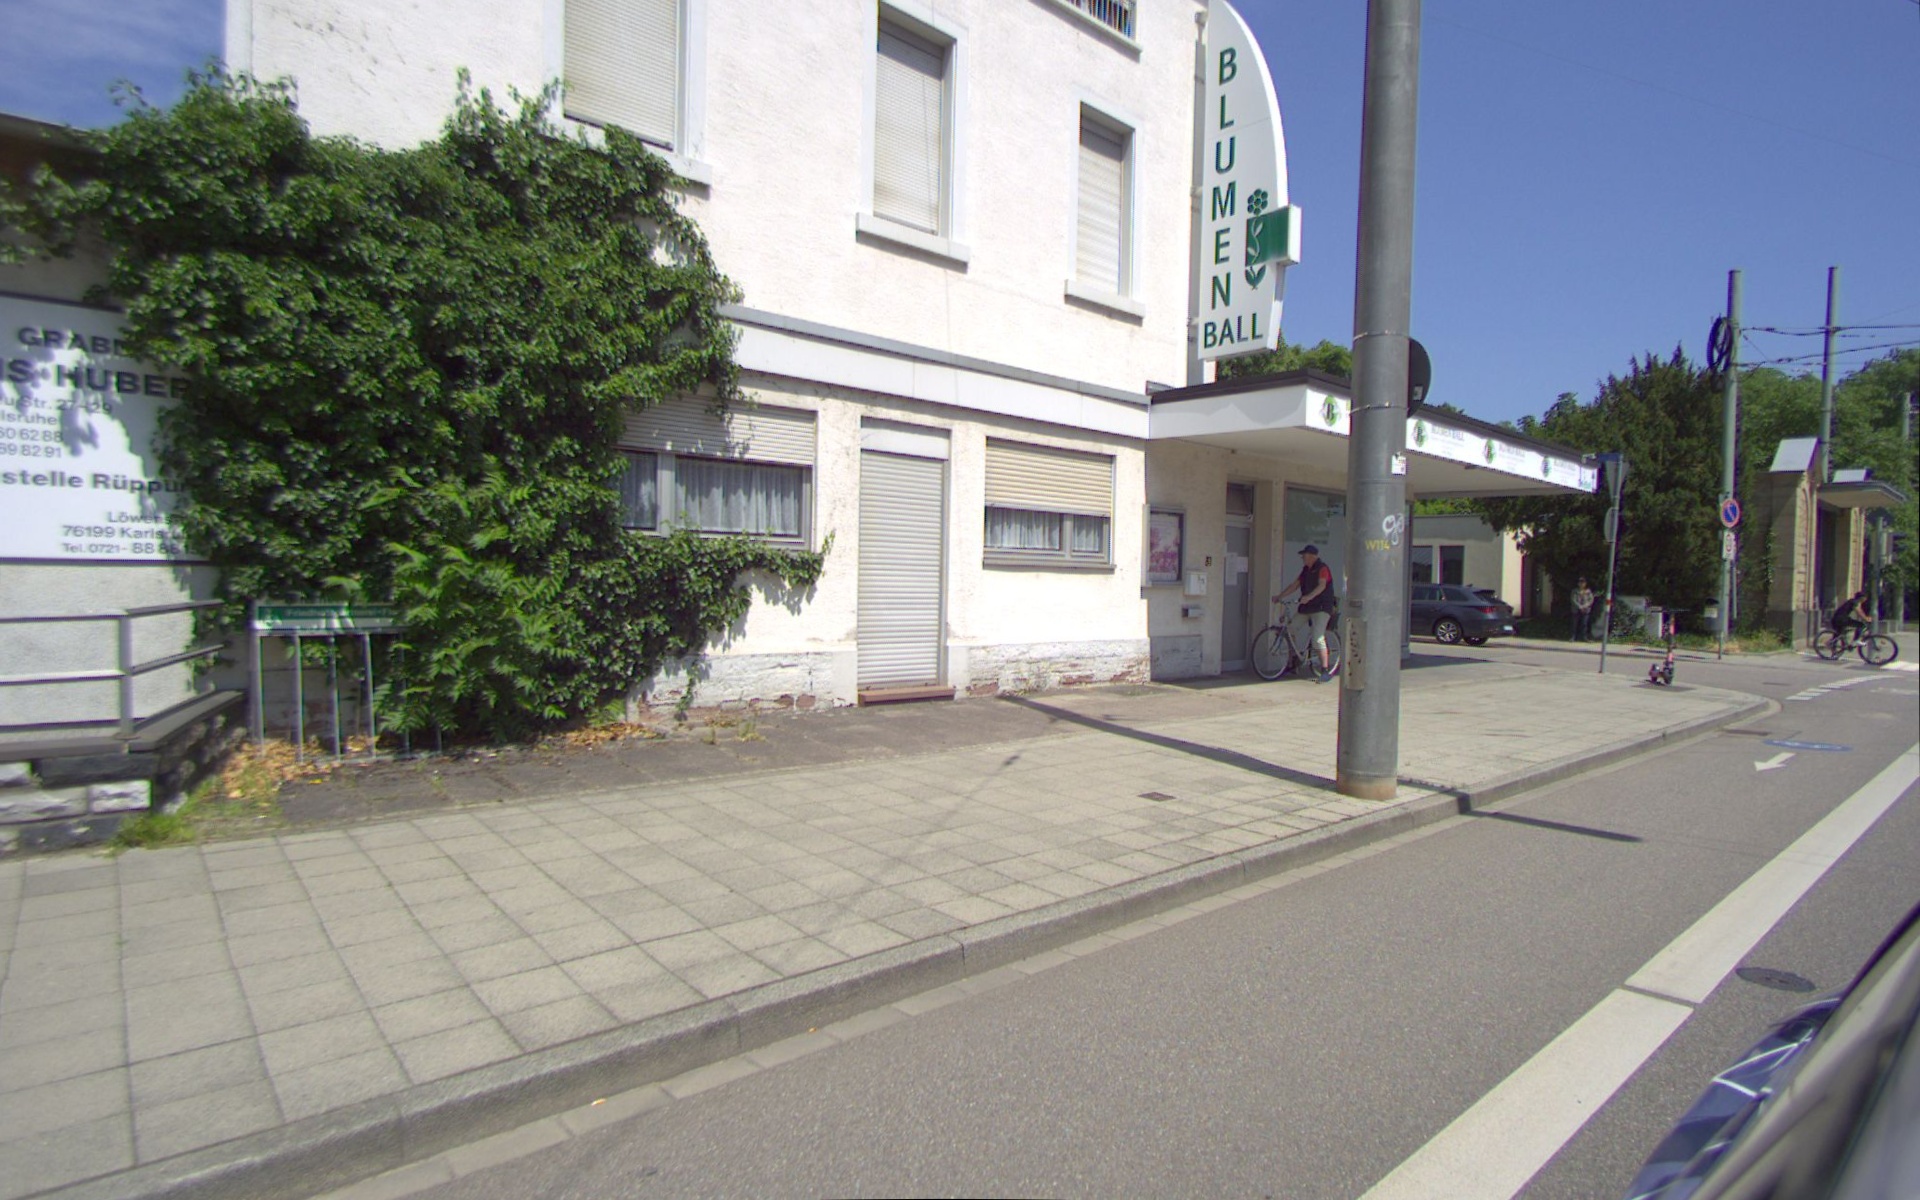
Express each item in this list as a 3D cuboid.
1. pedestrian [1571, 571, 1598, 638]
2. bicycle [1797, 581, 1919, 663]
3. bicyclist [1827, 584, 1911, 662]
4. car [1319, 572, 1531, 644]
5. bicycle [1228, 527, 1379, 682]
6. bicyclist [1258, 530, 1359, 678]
[{"bbox_3d":[15.337,0.102,24.839,0.532,1.618,0.420,0,0,36],"label":"pedestrian"},{"bbox_3d":[20.542,0.471,22.964,2.023,1.608,0.886,6,4,18],"label":"bicycle"},{"bbox_3d":[20.584,0.503,22.949,0.973,1.596,0.864,6,4,17],"label":"bicyclist"},{"bbox_3d":[11.337,0.151,24.945,1.567,1.475,4.460,2,2,-41],"label":"car"},{"bbox_3d":[4.613,0.054,13.550,1.920,1.923,0.801,1,4,-34],"label":"bicycle"},{"bbox_3d":[4.665,0.039,13.574,0.870,1.897,0.792,1,3,-34],"label":"bicyclist"}]
